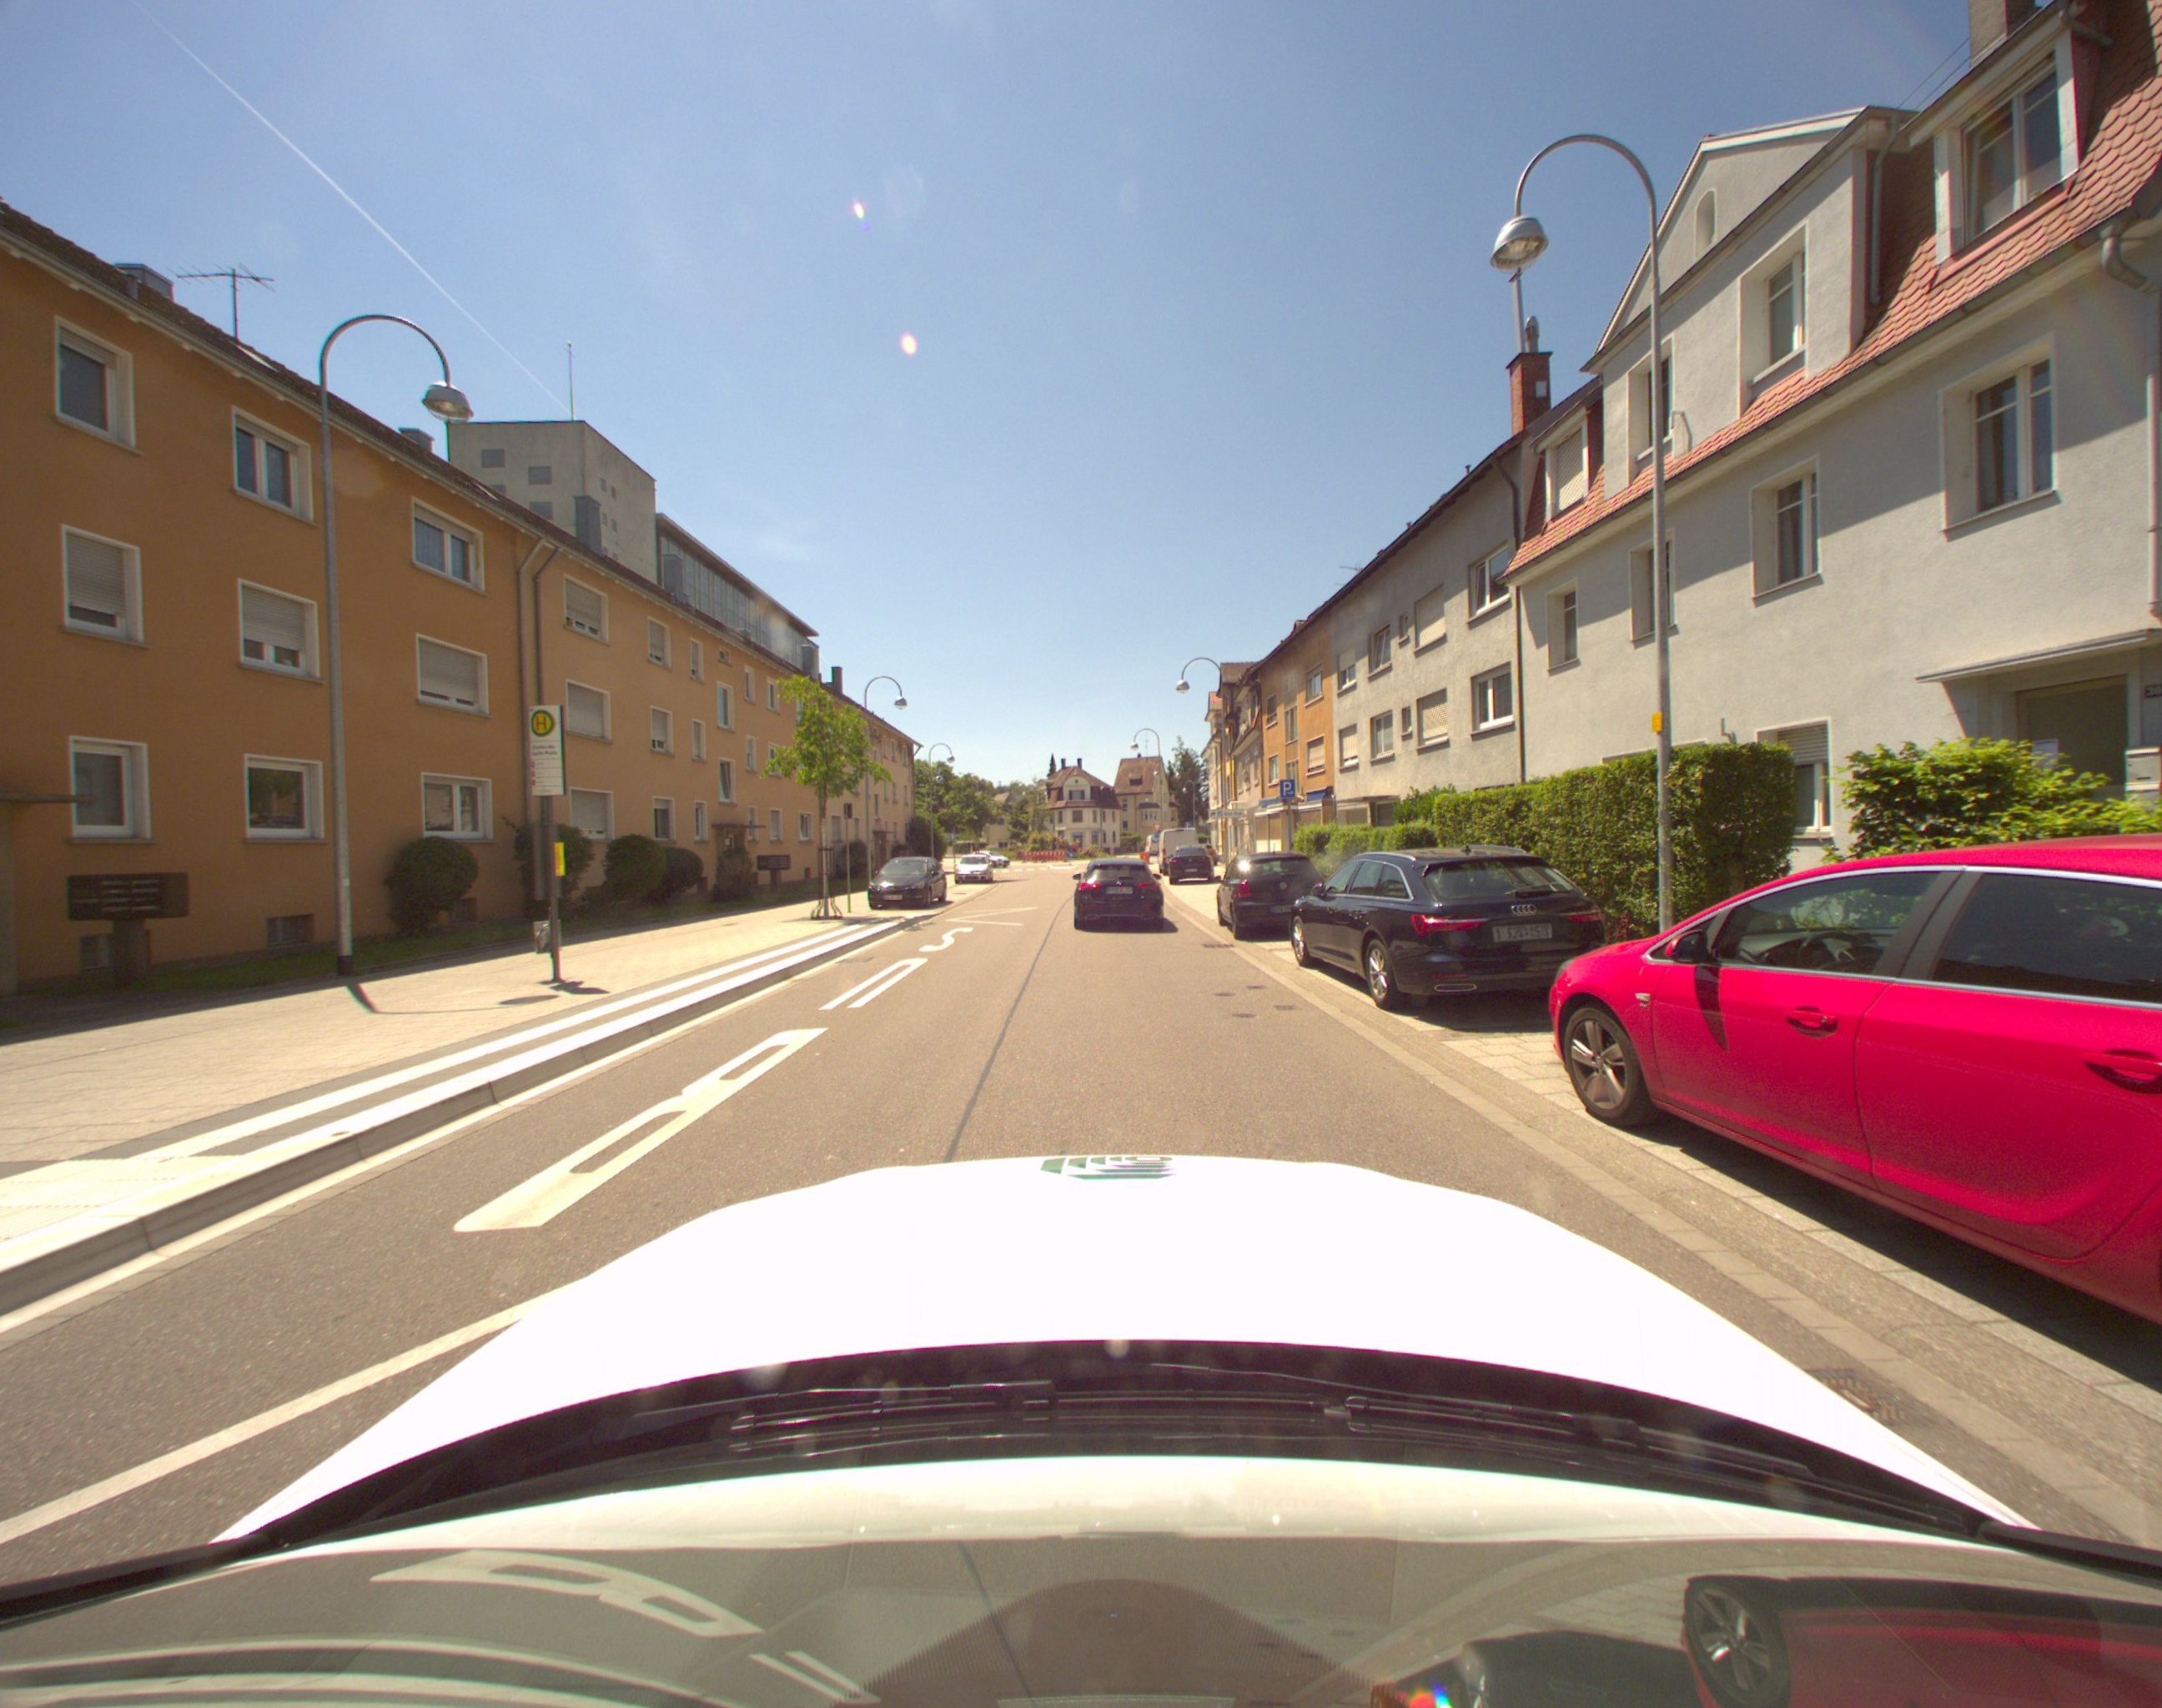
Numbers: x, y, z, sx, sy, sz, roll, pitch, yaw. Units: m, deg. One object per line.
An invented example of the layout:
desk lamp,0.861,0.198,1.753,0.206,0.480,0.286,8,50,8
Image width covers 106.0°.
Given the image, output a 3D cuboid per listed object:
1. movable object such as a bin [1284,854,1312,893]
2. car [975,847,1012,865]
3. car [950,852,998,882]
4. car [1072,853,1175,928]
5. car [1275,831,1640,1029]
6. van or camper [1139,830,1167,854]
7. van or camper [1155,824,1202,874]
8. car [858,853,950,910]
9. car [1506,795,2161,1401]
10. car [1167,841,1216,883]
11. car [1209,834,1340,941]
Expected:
movable object such as a bin,6.154,0.544,23.129,0.591,1.077,0.647,-2,0,0
car,-7.808,0.187,72.559,1.672,1.496,3.719,-2,0,-35
car,-5.437,0.639,41.787,1.988,1.420,4.086,-1,0,-1
car,0.860,0.717,17.508,1.946,1.427,4.001,0,-1,1
car,3.633,0.598,9.001,1.797,1.475,4.720,-5,0,0
van or camper,8.161,-1.325,91.702,2.188,2.610,4.020,-1,1,19
van or camper,5.531,-0.294,46.841,2.156,2.588,5.770,-2,0,2
car,-5.346,0.764,25.236,1.851,1.506,4.561,-1,1,0
car,3.613,0.579,3.116,1.797,1.530,4.150,-2,0,0
car,4.843,0.305,35.355,1.884,1.607,4.376,-3,0,10
car,3.467,0.513,15.301,1.720,1.633,4.006,-4,1,5
